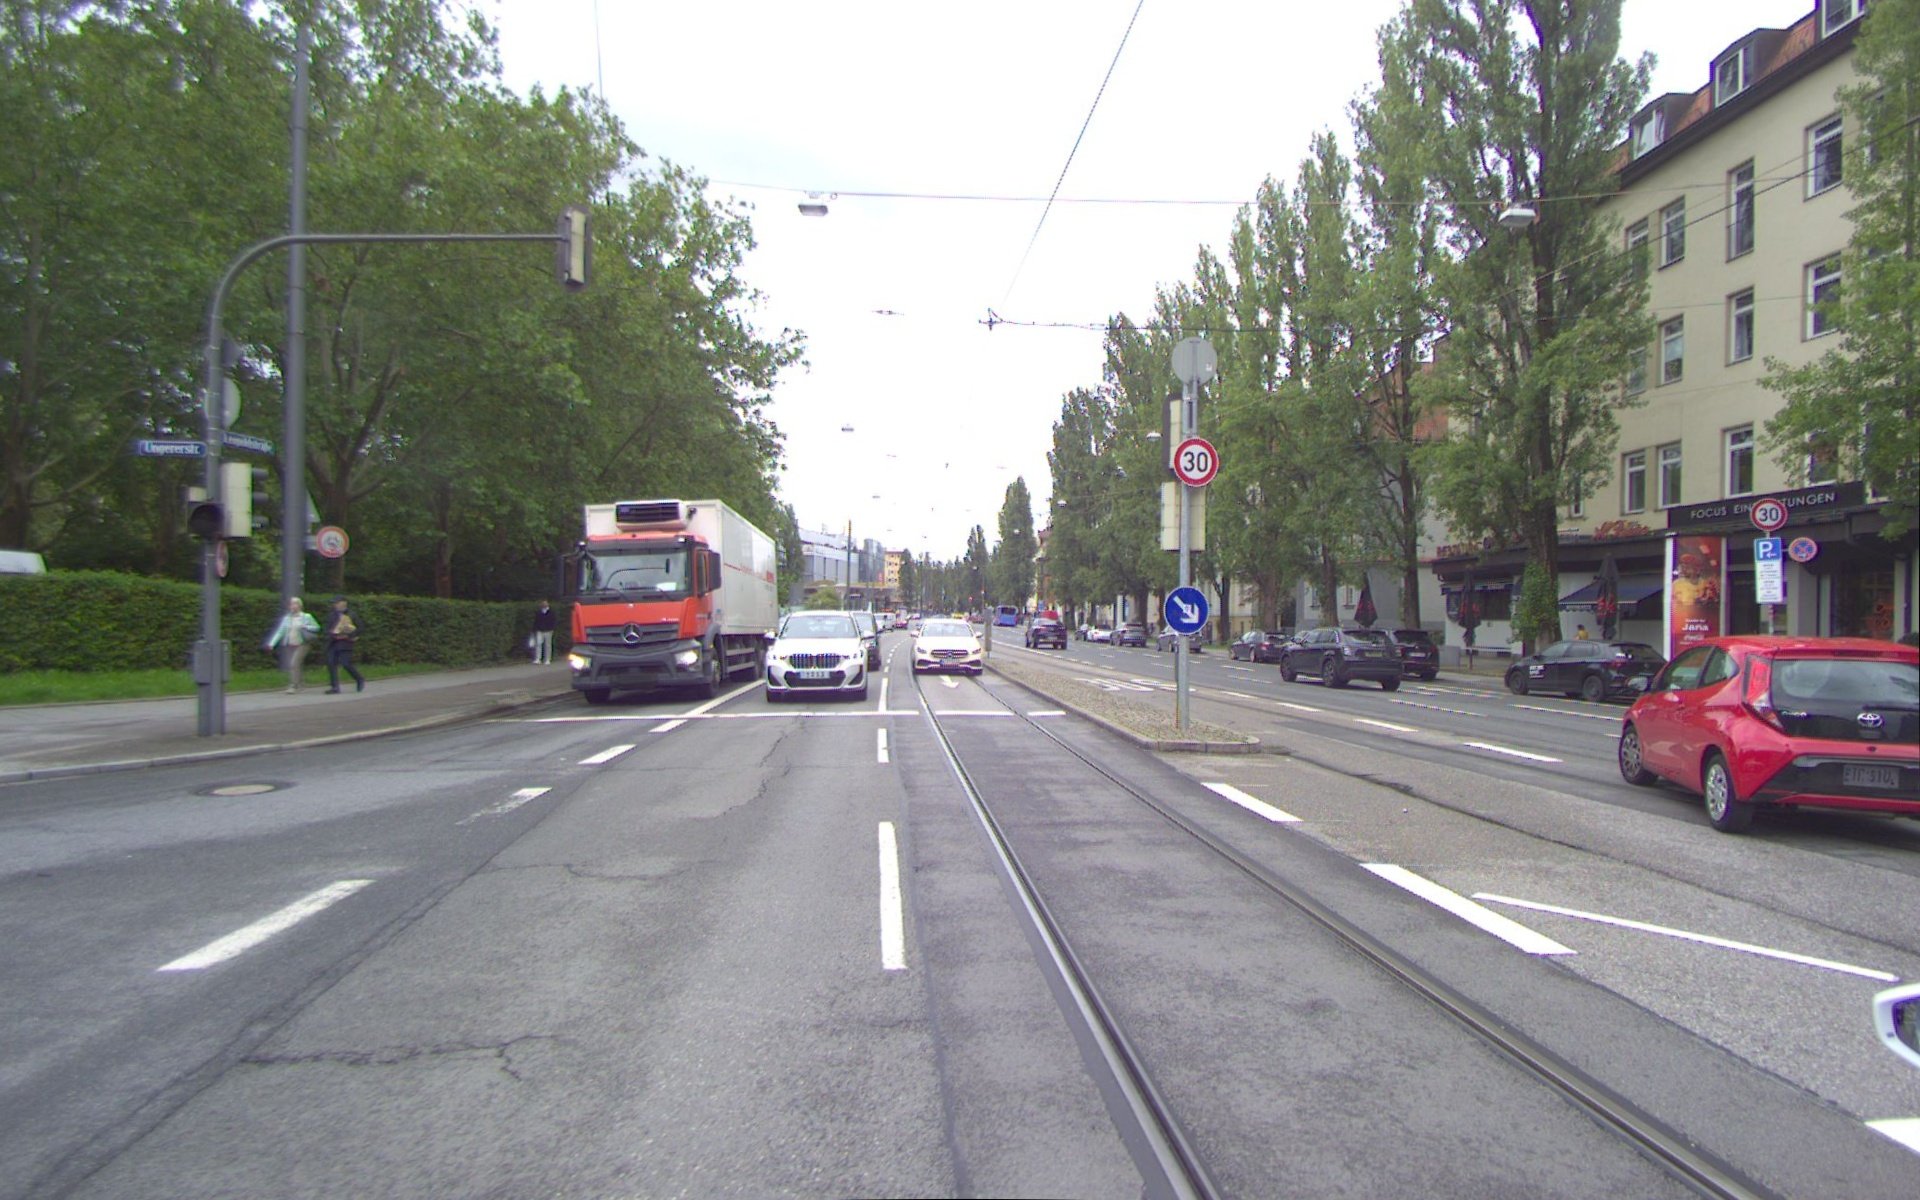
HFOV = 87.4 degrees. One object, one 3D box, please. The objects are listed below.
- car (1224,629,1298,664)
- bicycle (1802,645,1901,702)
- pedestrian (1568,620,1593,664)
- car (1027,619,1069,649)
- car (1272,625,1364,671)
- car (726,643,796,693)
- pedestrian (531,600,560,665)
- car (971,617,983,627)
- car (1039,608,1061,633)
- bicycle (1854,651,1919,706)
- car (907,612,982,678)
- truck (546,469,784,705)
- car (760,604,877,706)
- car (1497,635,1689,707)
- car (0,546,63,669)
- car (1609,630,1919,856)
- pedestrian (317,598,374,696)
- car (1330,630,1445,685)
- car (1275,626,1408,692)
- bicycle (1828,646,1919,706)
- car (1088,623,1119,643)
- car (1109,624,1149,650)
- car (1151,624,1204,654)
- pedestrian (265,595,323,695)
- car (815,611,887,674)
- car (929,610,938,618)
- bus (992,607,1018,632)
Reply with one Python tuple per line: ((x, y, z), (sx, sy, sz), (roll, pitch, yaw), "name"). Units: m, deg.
((13.334, 2.055, 44.769), (1.770, 1.417, 4.380), (1, -1, -4), "car")
((19.296, 1.581, 21.749), (1.854, 1.201, 0.496), (1, -1, -7), "bicycle")
((22.729, 1.532, 36.797), (0.563, 1.583, 0.495), (1, 1, -3), "pedestrian")
((4.800, 1.837, 55.215), (1.708, 1.569, 4.575), (1, -1, -3), "car")
((13.740, 1.806, 38.821), (1.770, 1.633, 4.303), (1, -1, -4), "car")
((-6.679, 2.243, 34.060), (1.703, 1.430, 4.101), (-2, -1, -3), "car")
((-11.922, 0.935, 28.916), (0.674, 1.834, 0.659), (1, -1, -16), "pedestrian")
((2.883, 3.755, 171.804), (1.752, 1.506, 3.999), (1, -1, -3), "car")
((10.388, 2.337, 116.206), (1.961, 2.609, 4.677), (1, 1, -3), "car")
((19.338, 1.604, 20.519), (1.854, 1.096, 0.496), (1, -1, -7), "bicycle")
((-0.523, 1.182, 27.979), (1.793, 1.660, 4.888), (1, -1, -4), "car")
((-6.096, -0.113, 23.130), (2.695, 4.033, 11.710), (0, -1, -4), "truck")
((-2.607, 0.984, 19.504), (1.884, 1.705, 4.888), (1, -1, -4), "car")
((14.936, 1.624, 23.982), (1.772, 1.485, 3.996), (1, -1, -7), "car")
((-19.045, 0.246, 19.256), (4.558, 2.039, 1.992), (-6, -4, 38), "car")
((6.777, 1.019, 8.369), (1.602, 1.459, 3.376), (2, -1, 21), "car")
((-10.820, 0.813, 17.715), (0.674, 1.685, 0.659), (1, -1, -16), "pedestrian")
((14.073, 1.839, 33.369), (1.694, 1.633, 4.469), (1, -1, -4), "car")
((9.693, 1.452, 25.882), (1.752, 1.505, 3.999), (1, -1, -3), "car")
((19.259, 1.588, 21.042), (1.854, 1.201, 0.496), (1, -1, -7), "bicycle")
((11.587, 2.633, 81.271), (1.770, 1.528, 3.999), (1, -1, -3), "car")
((11.928, 2.572, 71.077), (1.770, 1.766, 4.698), (1, -1, -4), "car")
((12.484, 2.225, 57.949), (1.770, 1.633, 4.545), (1, -1, -4), "car")
((-11.512, 0.769, 17.383), (0.674, 1.685, 0.553), (1, -1, -16), "pedestrian")
((-3.140, 1.208, 29.730), (1.792, 1.705, 4.889), (1, -1, -3), "car")
((-5.520, 2.947, 210.314), (1.752, 1.505, 3.999), (1, -1, -3), "car")
((6.810, 2.880, 153.408), (2.859, 3.442, 10.800), (1, 1, -2), "bus")
